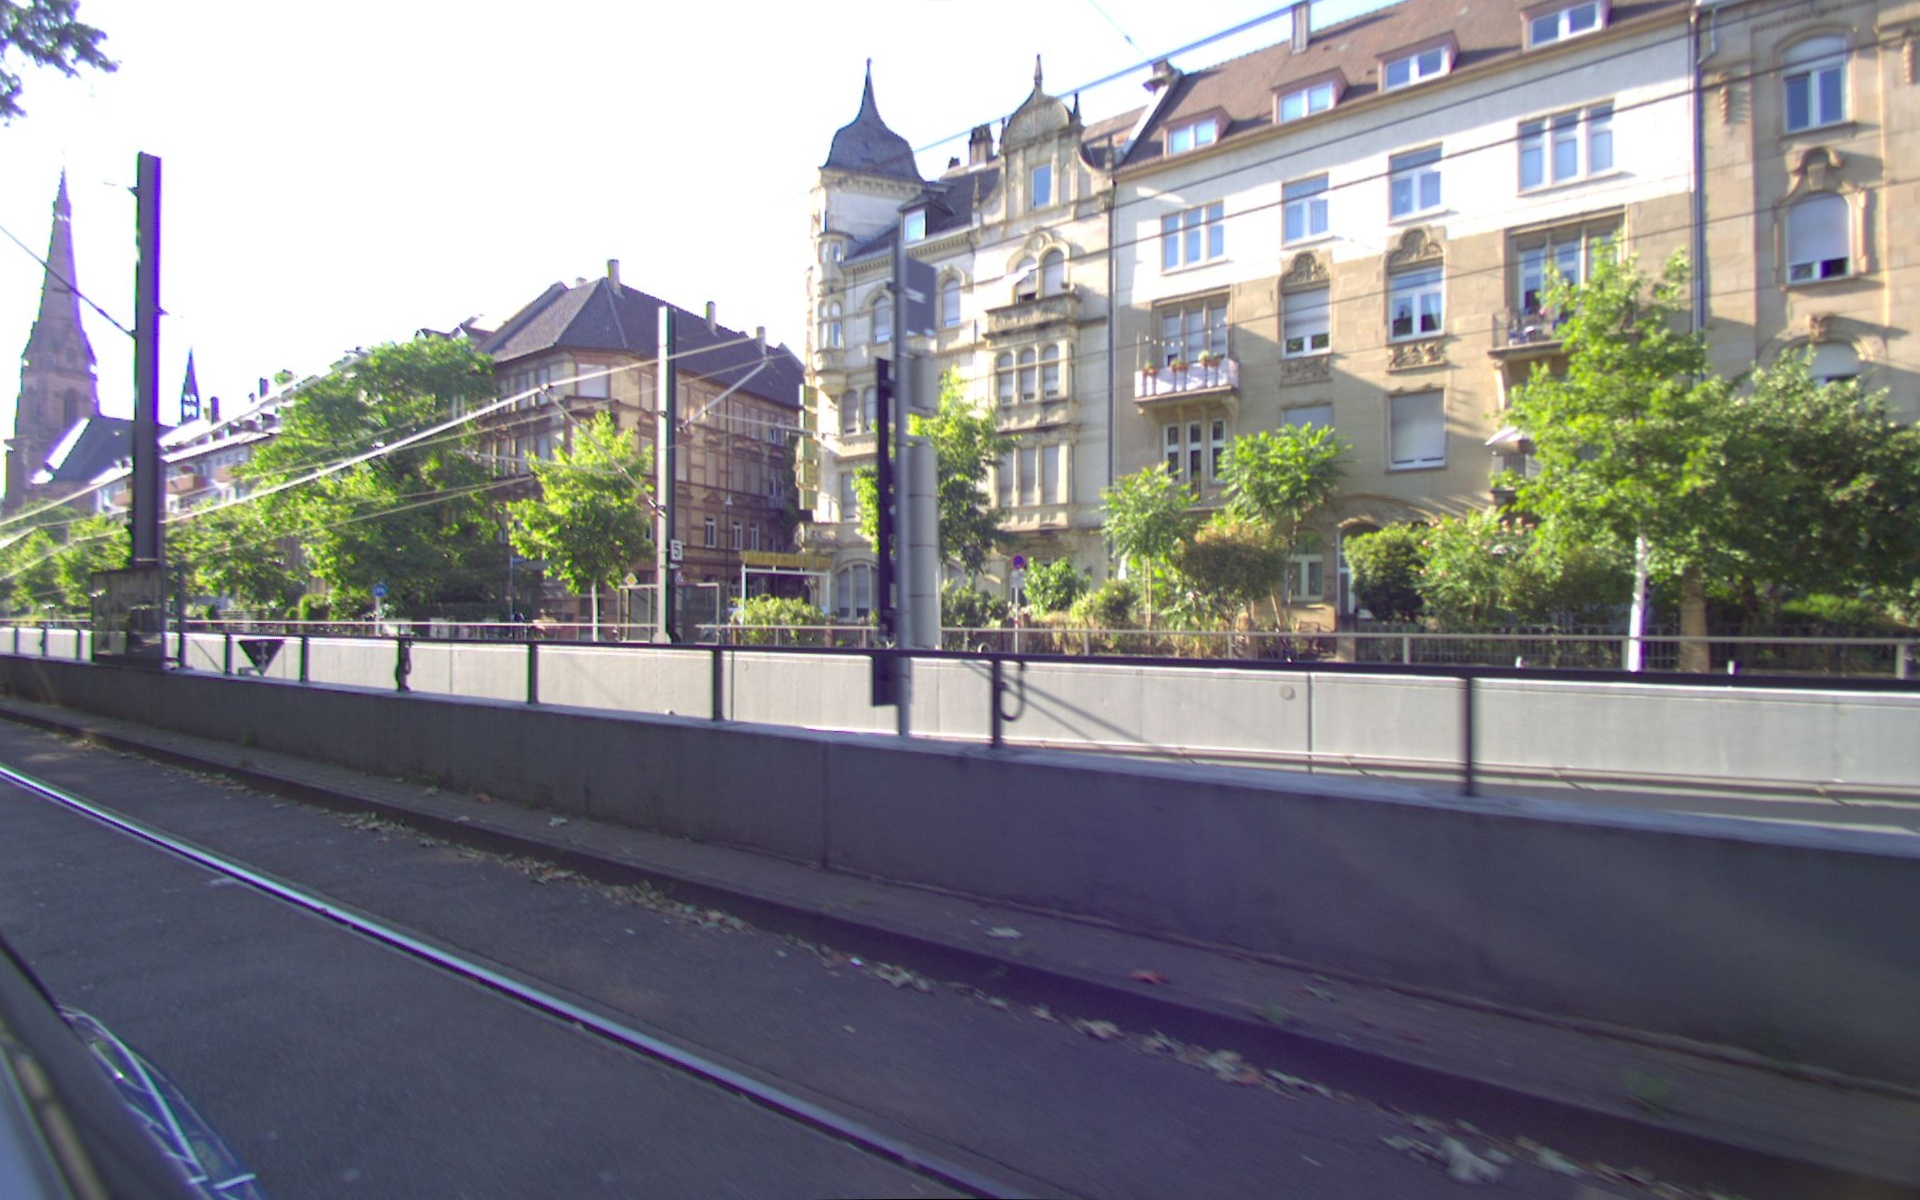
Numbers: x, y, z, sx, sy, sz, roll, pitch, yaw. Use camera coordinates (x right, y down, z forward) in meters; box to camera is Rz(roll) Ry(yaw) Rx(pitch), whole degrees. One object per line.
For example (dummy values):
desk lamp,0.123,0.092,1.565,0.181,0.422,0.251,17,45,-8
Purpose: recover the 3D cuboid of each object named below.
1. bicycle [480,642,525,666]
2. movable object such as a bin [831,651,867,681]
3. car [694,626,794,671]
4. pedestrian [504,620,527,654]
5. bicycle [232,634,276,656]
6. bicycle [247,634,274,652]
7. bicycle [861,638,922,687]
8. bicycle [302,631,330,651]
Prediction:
bicycle,-21.099,2.497,46.658,1.920,1.012,0.455,2,0,6
movable object such as a bin,-3.696,2.191,33.763,0.781,0.926,0.890,-1,0,31
car,-8.562,1.892,40.487,1.817,1.636,3.962,-1,-1,28
pedestrian,-22.281,1.843,50.739,0.864,1.701,0.711,-1,0,43
bicycle,-39.351,2.489,56.457,0.550,1.107,2.371,-1,0,6
bicycle,-38.807,2.368,56.163,0.532,0.912,1.266,-1,0,6
bicycle,-1.872,1.686,27.823,0.599,1.289,1.712,-1,-2,43
bicycle,-37.139,2.373,58.314,2.372,1.107,0.550,-1,0,37
